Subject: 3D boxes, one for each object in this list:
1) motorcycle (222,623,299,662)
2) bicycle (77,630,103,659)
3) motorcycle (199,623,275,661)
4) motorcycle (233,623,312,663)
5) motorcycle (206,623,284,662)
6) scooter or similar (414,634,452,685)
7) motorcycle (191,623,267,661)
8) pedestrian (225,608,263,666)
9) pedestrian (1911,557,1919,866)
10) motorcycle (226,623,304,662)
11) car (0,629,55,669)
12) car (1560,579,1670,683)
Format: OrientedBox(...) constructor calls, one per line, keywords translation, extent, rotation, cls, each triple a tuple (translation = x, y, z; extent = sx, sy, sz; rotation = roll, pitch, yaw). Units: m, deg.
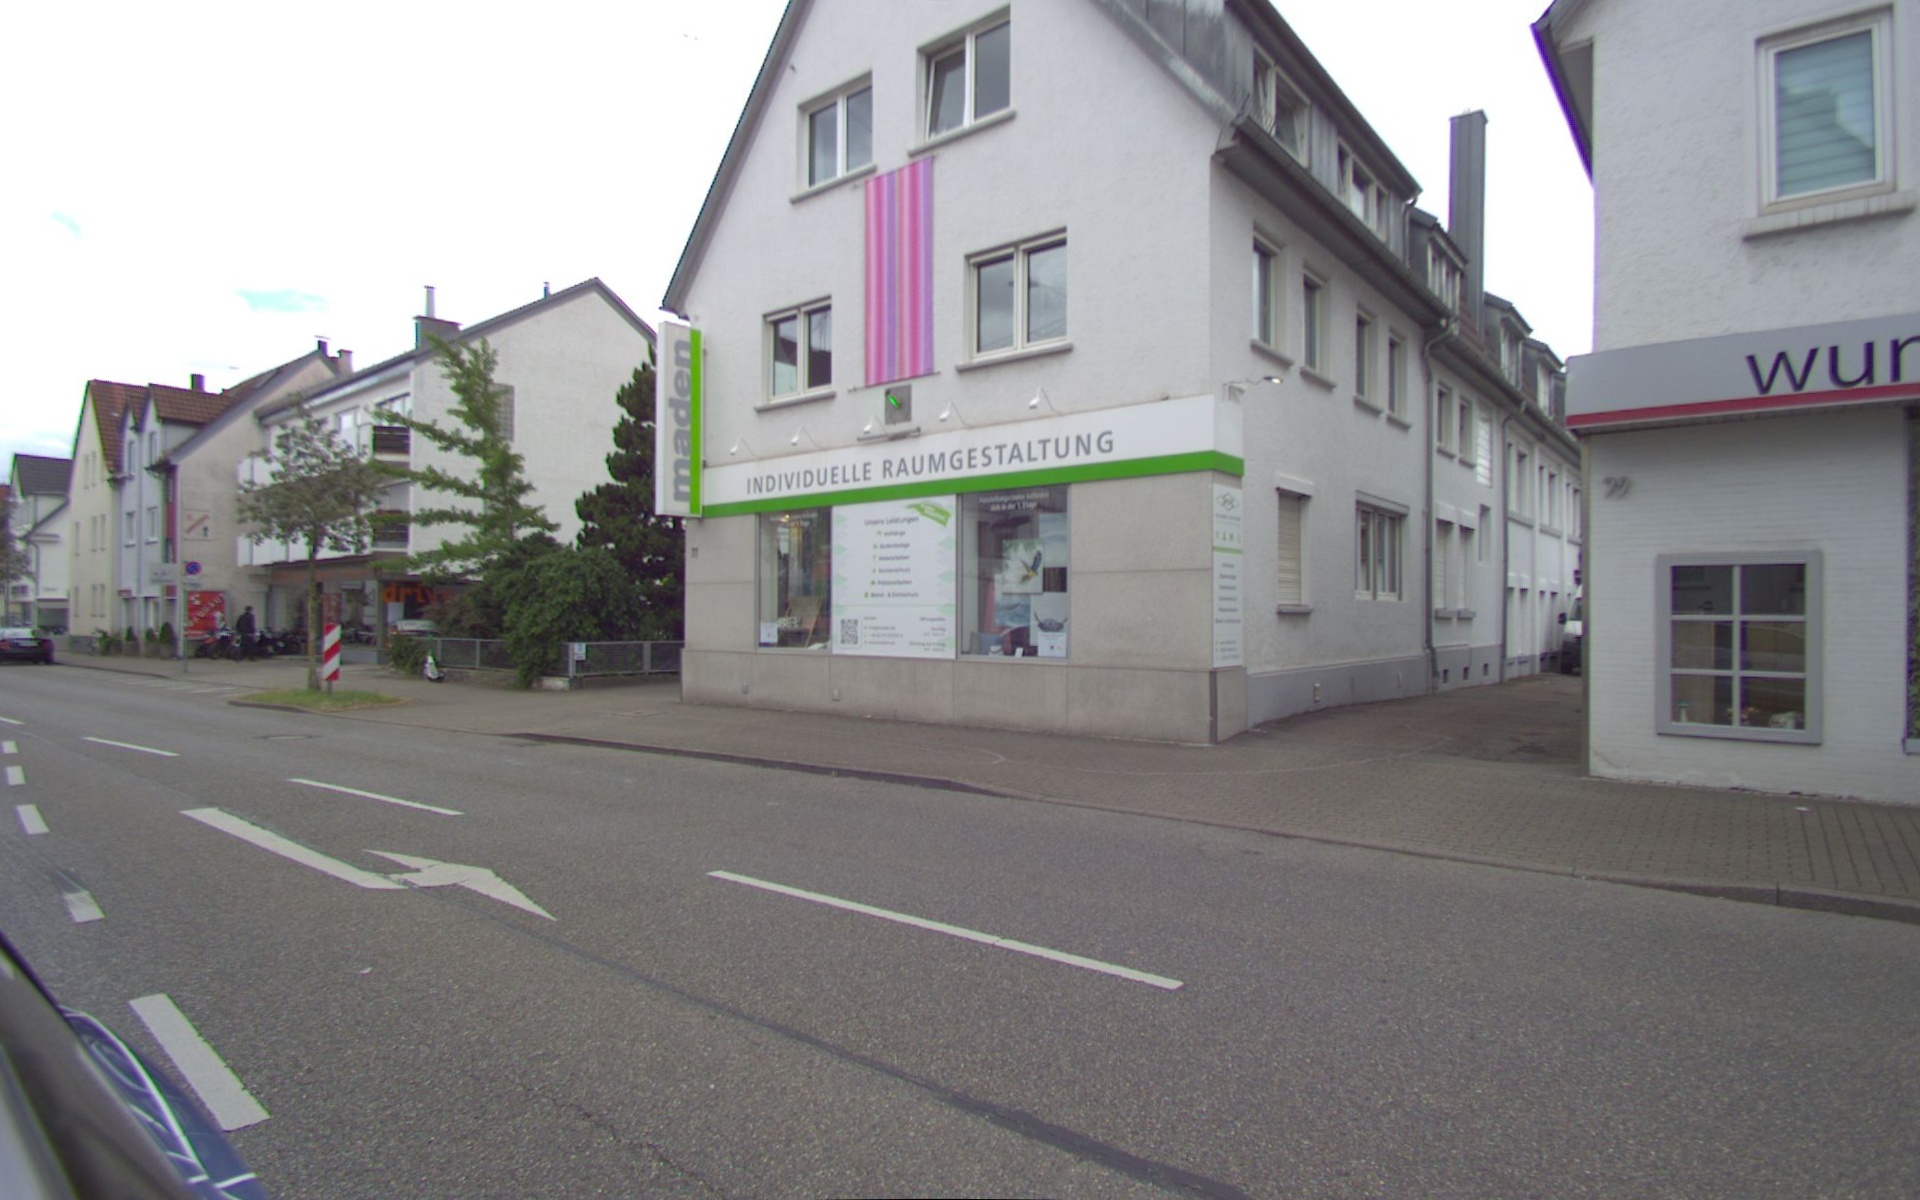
OrientedBox(translation=(-25.489, 1.515, 36.903), extent=(0.612, 1.275, 2.204), rotation=(-1, 1, 38), cls="motorcycle")
OrientedBox(translation=(-37.669, 1.905, 43.810), extent=(2.022, 1.205, 0.509), rotation=(-1, -1, 39), cls="bicycle")
OrientedBox(translation=(-26.908, 1.535, 37.706), extent=(0.612, 1.275, 2.204), rotation=(-1, 1, 38), cls="motorcycle")
OrientedBox(translation=(-24.335, 1.505, 35.866), extent=(0.612, 1.275, 2.204), rotation=(-1, 1, 38), cls="motorcycle")
OrientedBox(translation=(-26.290, 1.540, 37.227), extent=(0.698, 1.275, 2.204), rotation=(-1, 1, 38), cls="motorcycle")
OrientedBox(translation=(-12.002, 1.347, 23.039), extent=(1.179, 1.120, 0.336), rotation=(-1, -1, 41), cls="scooter or similar")
OrientedBox(translation=(-27.521, 1.548, 38.120), extent=(0.612, 1.275, 2.204), rotation=(-1, 1, 38), cls="motorcycle")
OrientedBox(translation=(-23.884, 1.224, 33.759), extent=(1.019, 1.863, 0.744), rotation=(-1, 2, 40), cls="pedestrian")
OrientedBox(translation=(5.726, 0.634, 5.301), extent=(1.019, 1.756, 0.744), rotation=(-1, 1, 40), cls="pedestrian")
OrientedBox(translation=(-24.962, 1.505, 36.395), extent=(0.612, 1.275, 2.204), rotation=(-1, 1, 38), cls="motorcycle")
OrientedBox(translation=(-36.259, 1.838, 38.733), extent=(4.337, 1.428, 1.770), rotation=(-1, -2, 39), cls="car")
OrientedBox(translation=(18.156, 0.750, 27.914), extent=(1.957, 2.527, 5.918), rotation=(2, 1, 38), cls="car")
